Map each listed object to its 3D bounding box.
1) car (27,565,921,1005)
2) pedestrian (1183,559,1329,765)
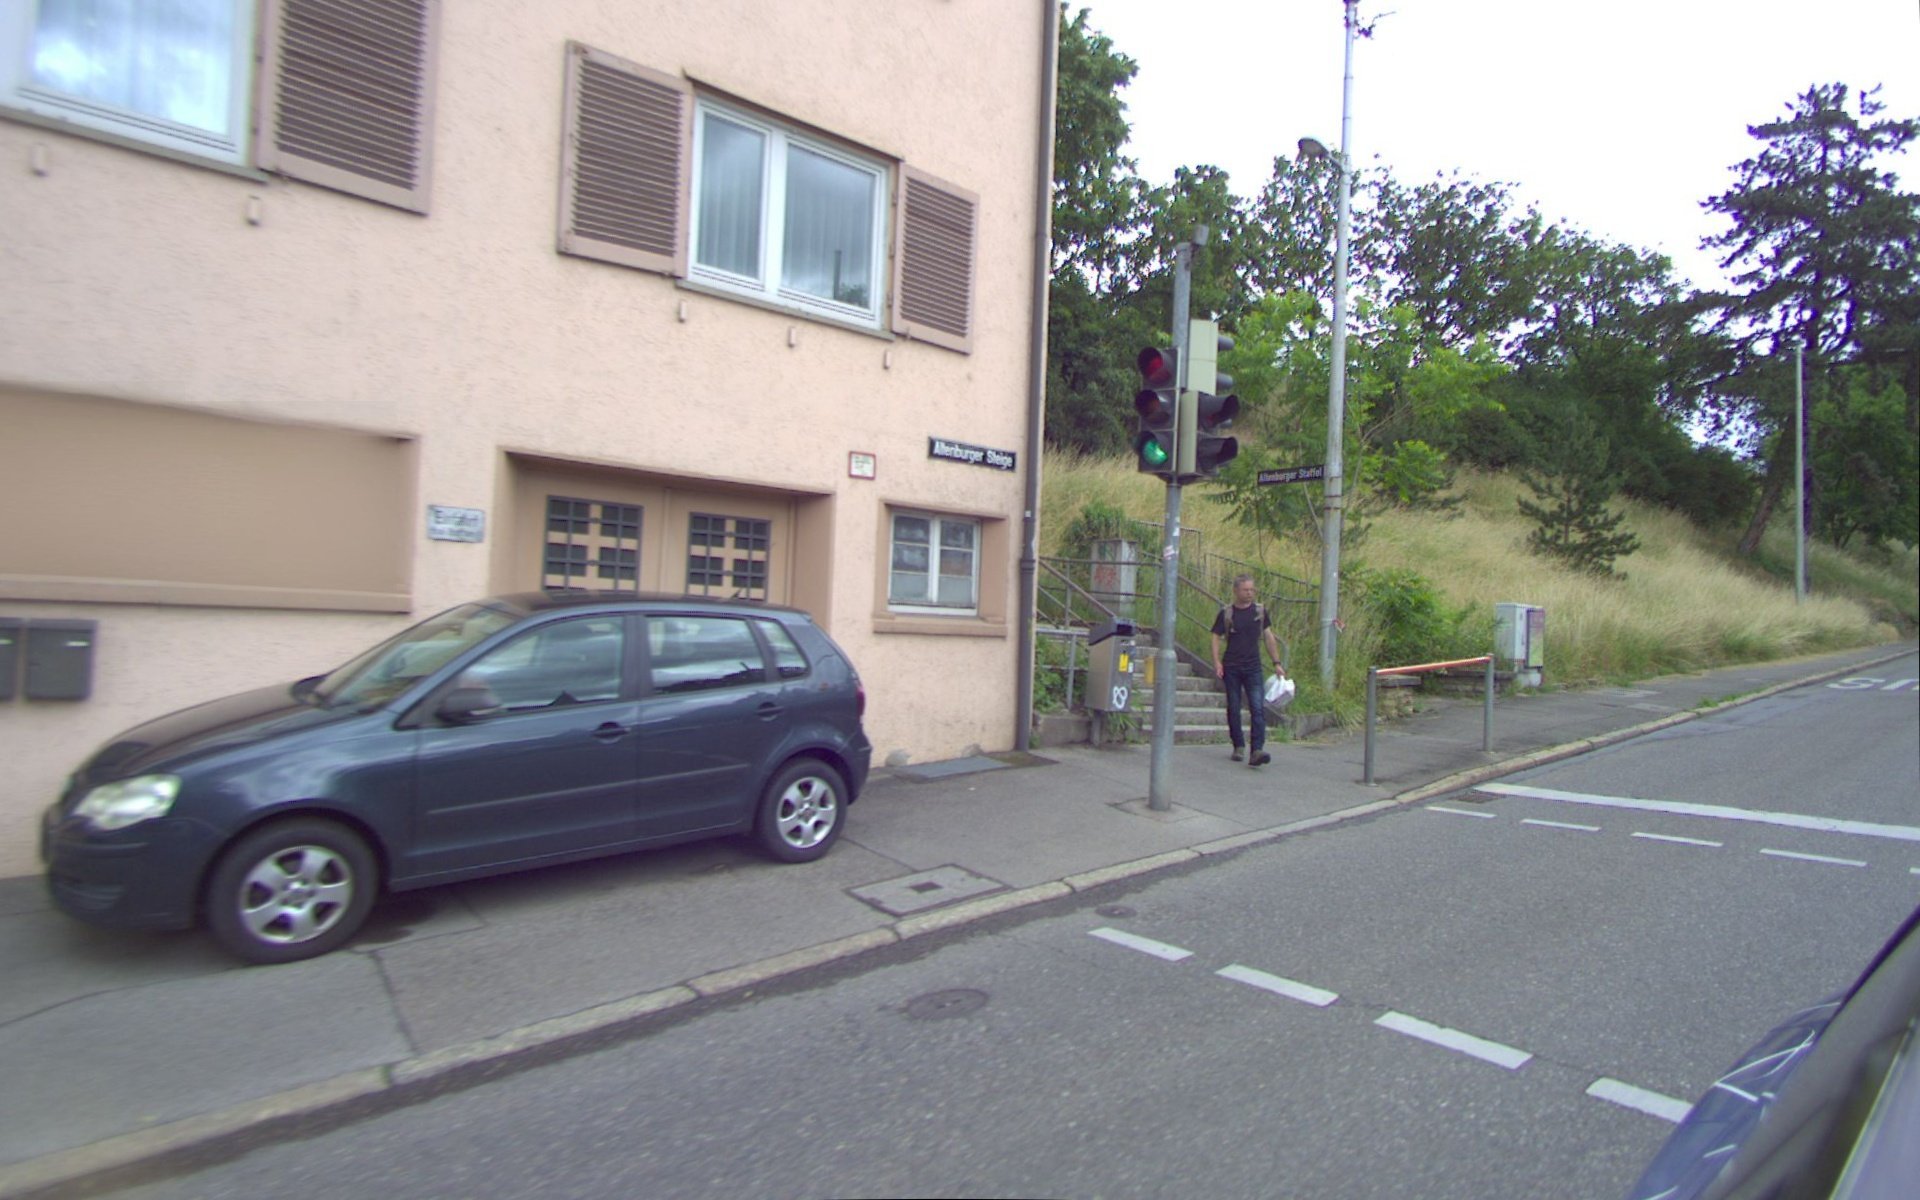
[{"bbox_3d":[-2.290,0.617,5.450,3.929,1.468,1.686,0,4,-40],"label":"car"},{"bbox_3d":[2.663,0.528,9.209,0.855,1.716,0.891,4,3,-7],"label":"pedestrian"}]
